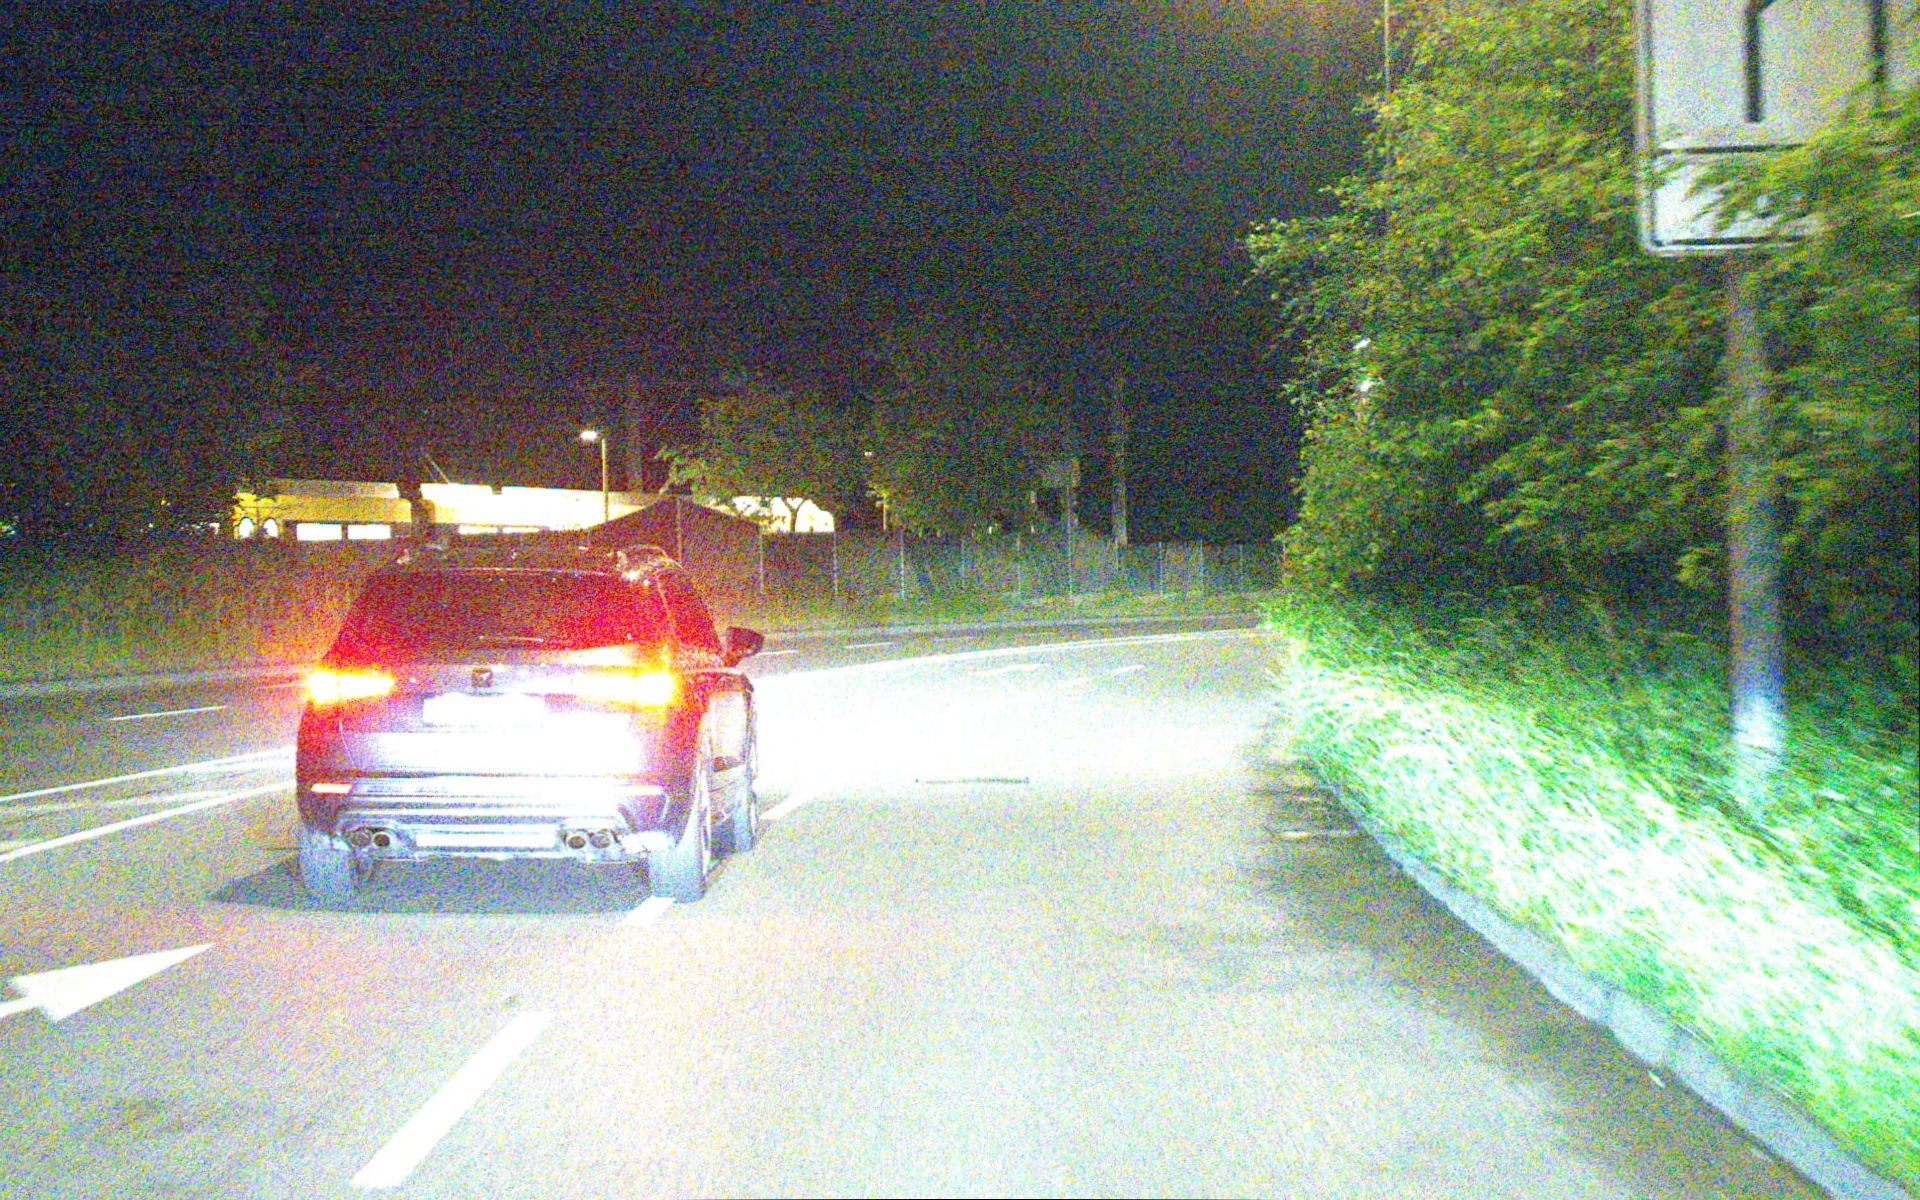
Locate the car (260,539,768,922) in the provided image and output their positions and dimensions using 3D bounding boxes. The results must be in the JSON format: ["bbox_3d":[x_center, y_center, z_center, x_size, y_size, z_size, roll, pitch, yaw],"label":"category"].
[{"bbox_3d":[-1.990,0.515,16.465,1.852,1.577,4.007,1,1,1],"label":"car"}]
